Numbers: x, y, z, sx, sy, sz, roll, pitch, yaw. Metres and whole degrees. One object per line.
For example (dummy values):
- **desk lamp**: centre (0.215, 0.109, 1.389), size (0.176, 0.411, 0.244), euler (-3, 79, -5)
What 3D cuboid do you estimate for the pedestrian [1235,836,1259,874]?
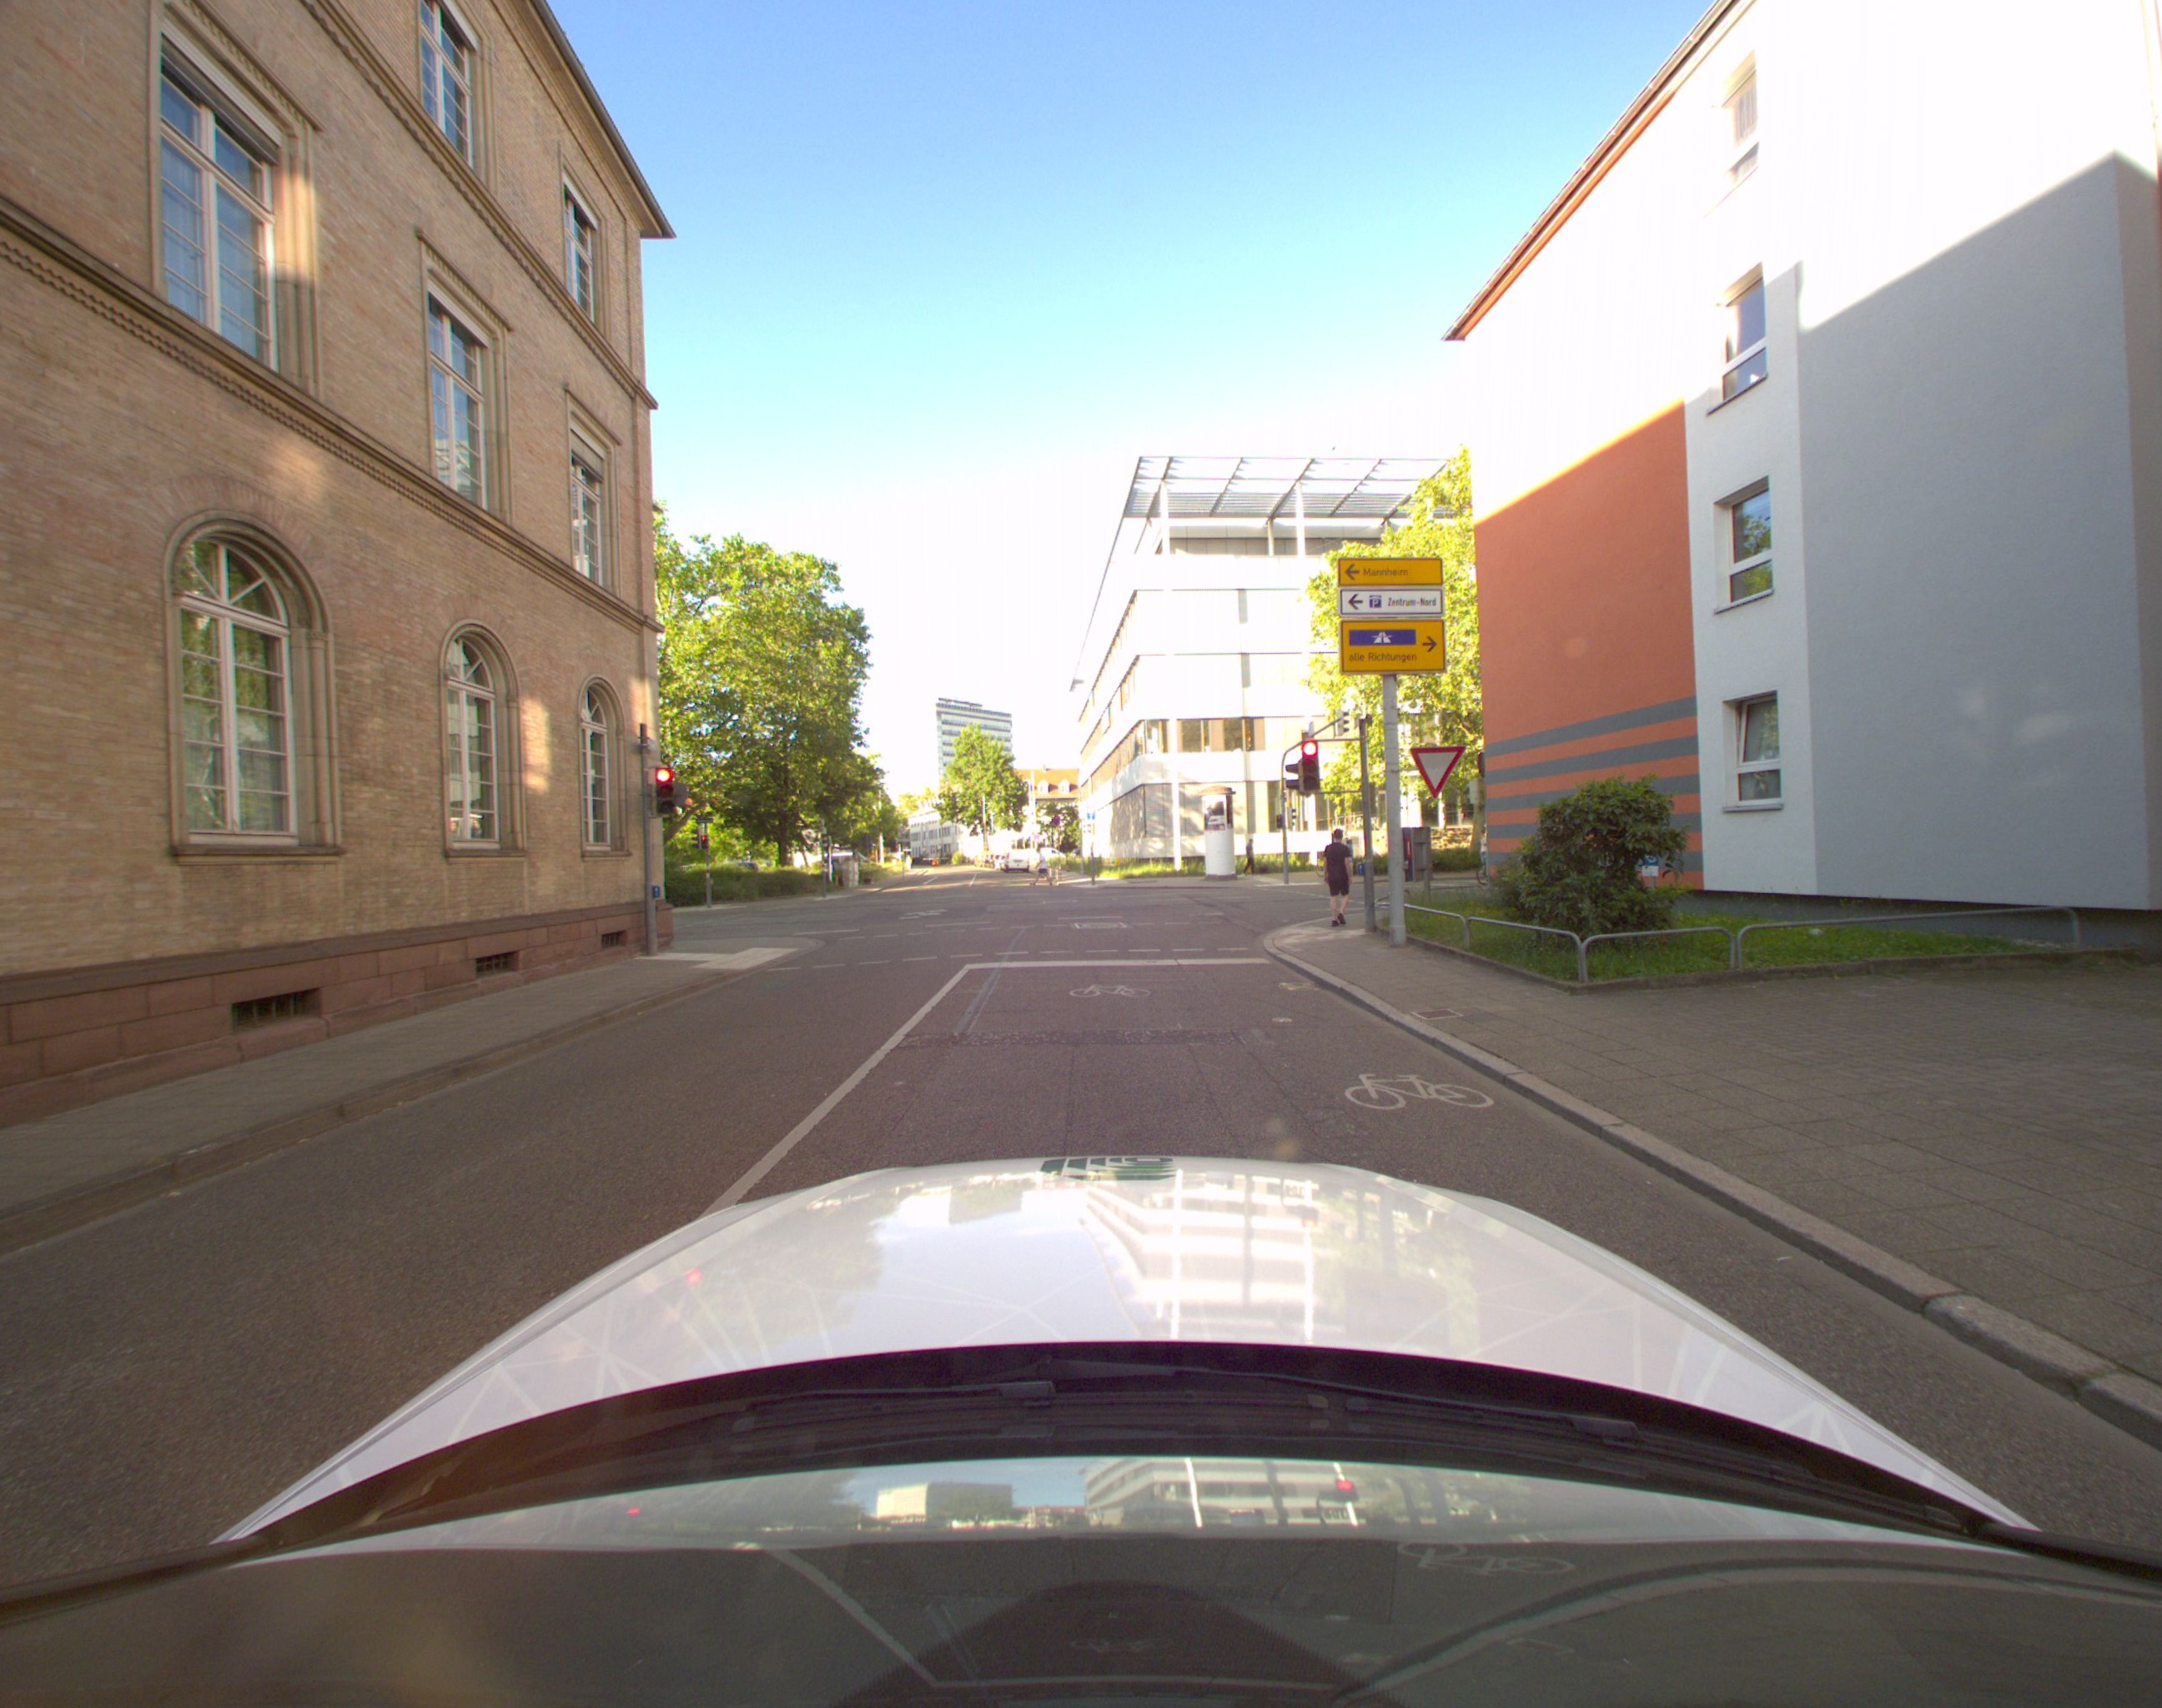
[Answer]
- **pedestrian**: centre (7.931, 0.058, 38.867), size (0.913, 1.815, 0.760), euler (0, -1, -6)

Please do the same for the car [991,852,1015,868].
- **car**: centre (-7.841, 0.604, 81.639), size (1.994, 1.499, 4.270), euler (0, -1, -11)

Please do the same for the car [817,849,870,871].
- **car**: centre (-22.023, 0.547, 75.781), size (4.441, 2.014, 1.995), euler (0, -1, -8)

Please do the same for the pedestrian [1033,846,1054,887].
- **pedestrian**: centre (-1.727, 0.592, 37.900), size (0.911, 1.869, 0.743), euler (0, -1, 1)

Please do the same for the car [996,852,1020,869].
- **car**: centre (-6.918, 0.626, 77.165), size (1.993, 1.499, 4.638), euler (0, -1, -8)

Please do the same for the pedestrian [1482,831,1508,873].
- **pedestrian**: centre (17.241, -0.086, 33.951), size (0.761, 1.719, 0.648), euler (0, -1, 4)

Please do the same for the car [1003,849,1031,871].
- **car**: centre (-5.171, 0.481, 65.131), size (1.992, 1.725, 4.640), euler (0, -1, -7)

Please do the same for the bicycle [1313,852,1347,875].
- **bicycle**: centre (11.008, 0.426, 36.040), size (0.381, 1.008, 1.416), euler (-2, 0, -40)

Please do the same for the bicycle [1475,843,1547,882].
- **bicycle**: centre (13.793, 0.273, 26.163), size (1.953, 1.152, 0.593), euler (-2, 0, 7)

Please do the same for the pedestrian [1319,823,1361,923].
- **pedestrian**: centre (4.827, 0.346, 15.229), size (0.694, 1.810, 0.722), euler (-1, -1, 14)

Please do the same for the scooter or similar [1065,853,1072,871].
- **scooter or similar**: centre (-0.912, 0.591, 58.488), size (0.436, 1.256, 1.418), euler (-2, 0, -2)

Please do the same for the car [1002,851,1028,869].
- **car**: centre (-5.846, 0.494, 71.365), size (1.993, 1.499, 4.638), euler (0, -1, -8)

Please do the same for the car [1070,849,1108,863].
- **car**: centre (1.024, 0.282, 104.968), size (4.644, 1.725, 1.990), euler (0, -1, -15)

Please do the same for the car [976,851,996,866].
- **car**: centre (-11.299, 0.561, 96.316), size (1.995, 1.725, 4.633), euler (0, -1, -11)

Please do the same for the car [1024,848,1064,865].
- **car**: centre (-4.682, 0.299, 103.262), size (4.802, 2.159, 1.989), euler (0, -1, -16)

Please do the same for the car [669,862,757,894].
- **car**: centre (-17.081, 1.097, 37.915), size (3.407, 1.457, 1.646), euler (0, -1, -8)

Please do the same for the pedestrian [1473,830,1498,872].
- **pedestrian**: centre (17.238, -0.124, 34.692), size (0.761, 1.795, 0.648), euler (0, -1, 4)

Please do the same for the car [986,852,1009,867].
- **car**: centre (-8.883, 0.611, 86.392), size (1.994, 1.499, 4.635), euler (0, -1, -10)

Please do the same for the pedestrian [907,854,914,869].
- **pedestrian**: centre (-18.031, 0.758, 86.154), size (0.700, 1.587, 0.633), euler (0, -1, -14)
